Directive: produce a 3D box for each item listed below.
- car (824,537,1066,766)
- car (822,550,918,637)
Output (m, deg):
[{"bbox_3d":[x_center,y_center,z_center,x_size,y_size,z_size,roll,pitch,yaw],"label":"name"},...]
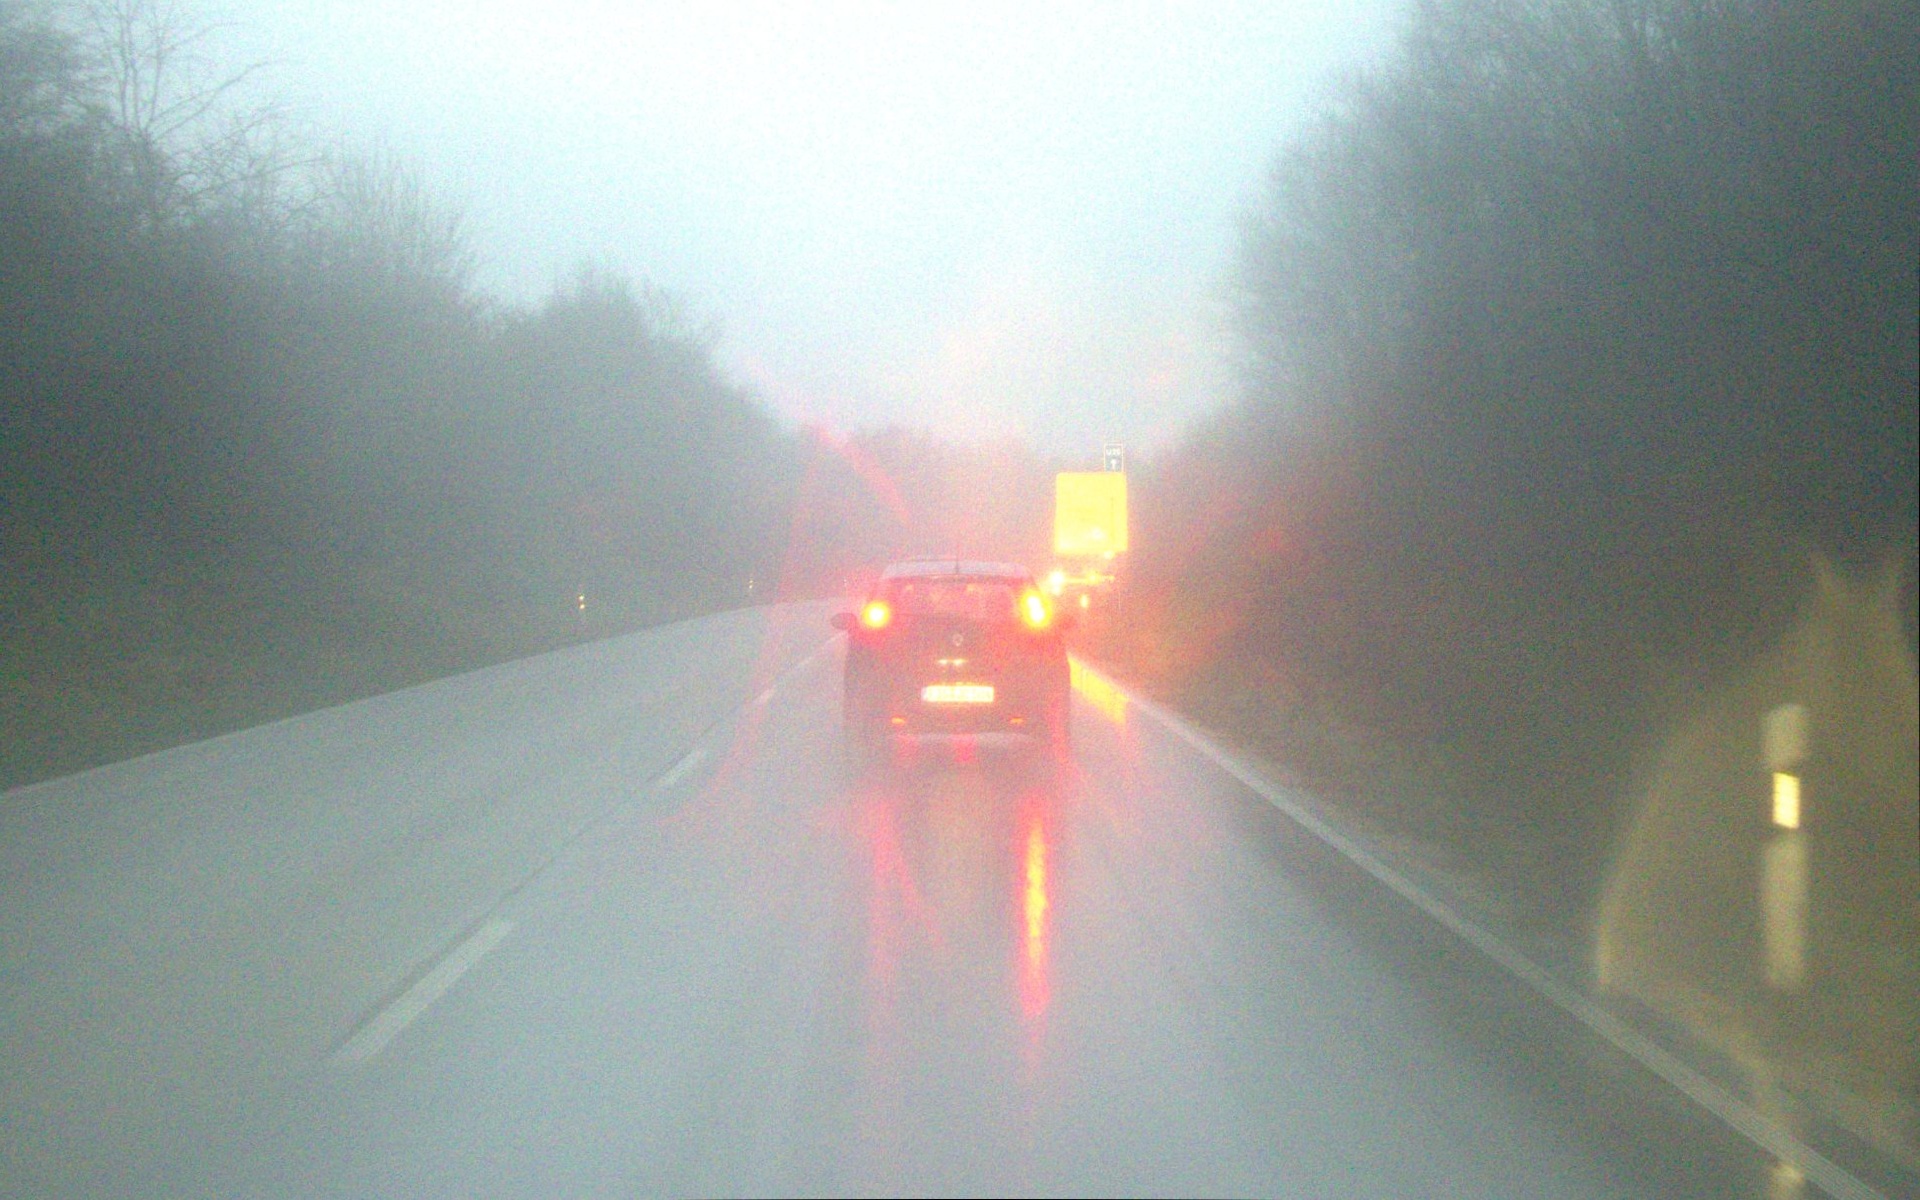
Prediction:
[{"bbox_3d":[-0.086,0.341,26.557,1.728,1.638,4.000,0,1,1],"label":"car"},{"bbox_3d":[-1.728,-0.150,67.360,1.728,1.638,4.000,0,1,1],"label":"car"}]
